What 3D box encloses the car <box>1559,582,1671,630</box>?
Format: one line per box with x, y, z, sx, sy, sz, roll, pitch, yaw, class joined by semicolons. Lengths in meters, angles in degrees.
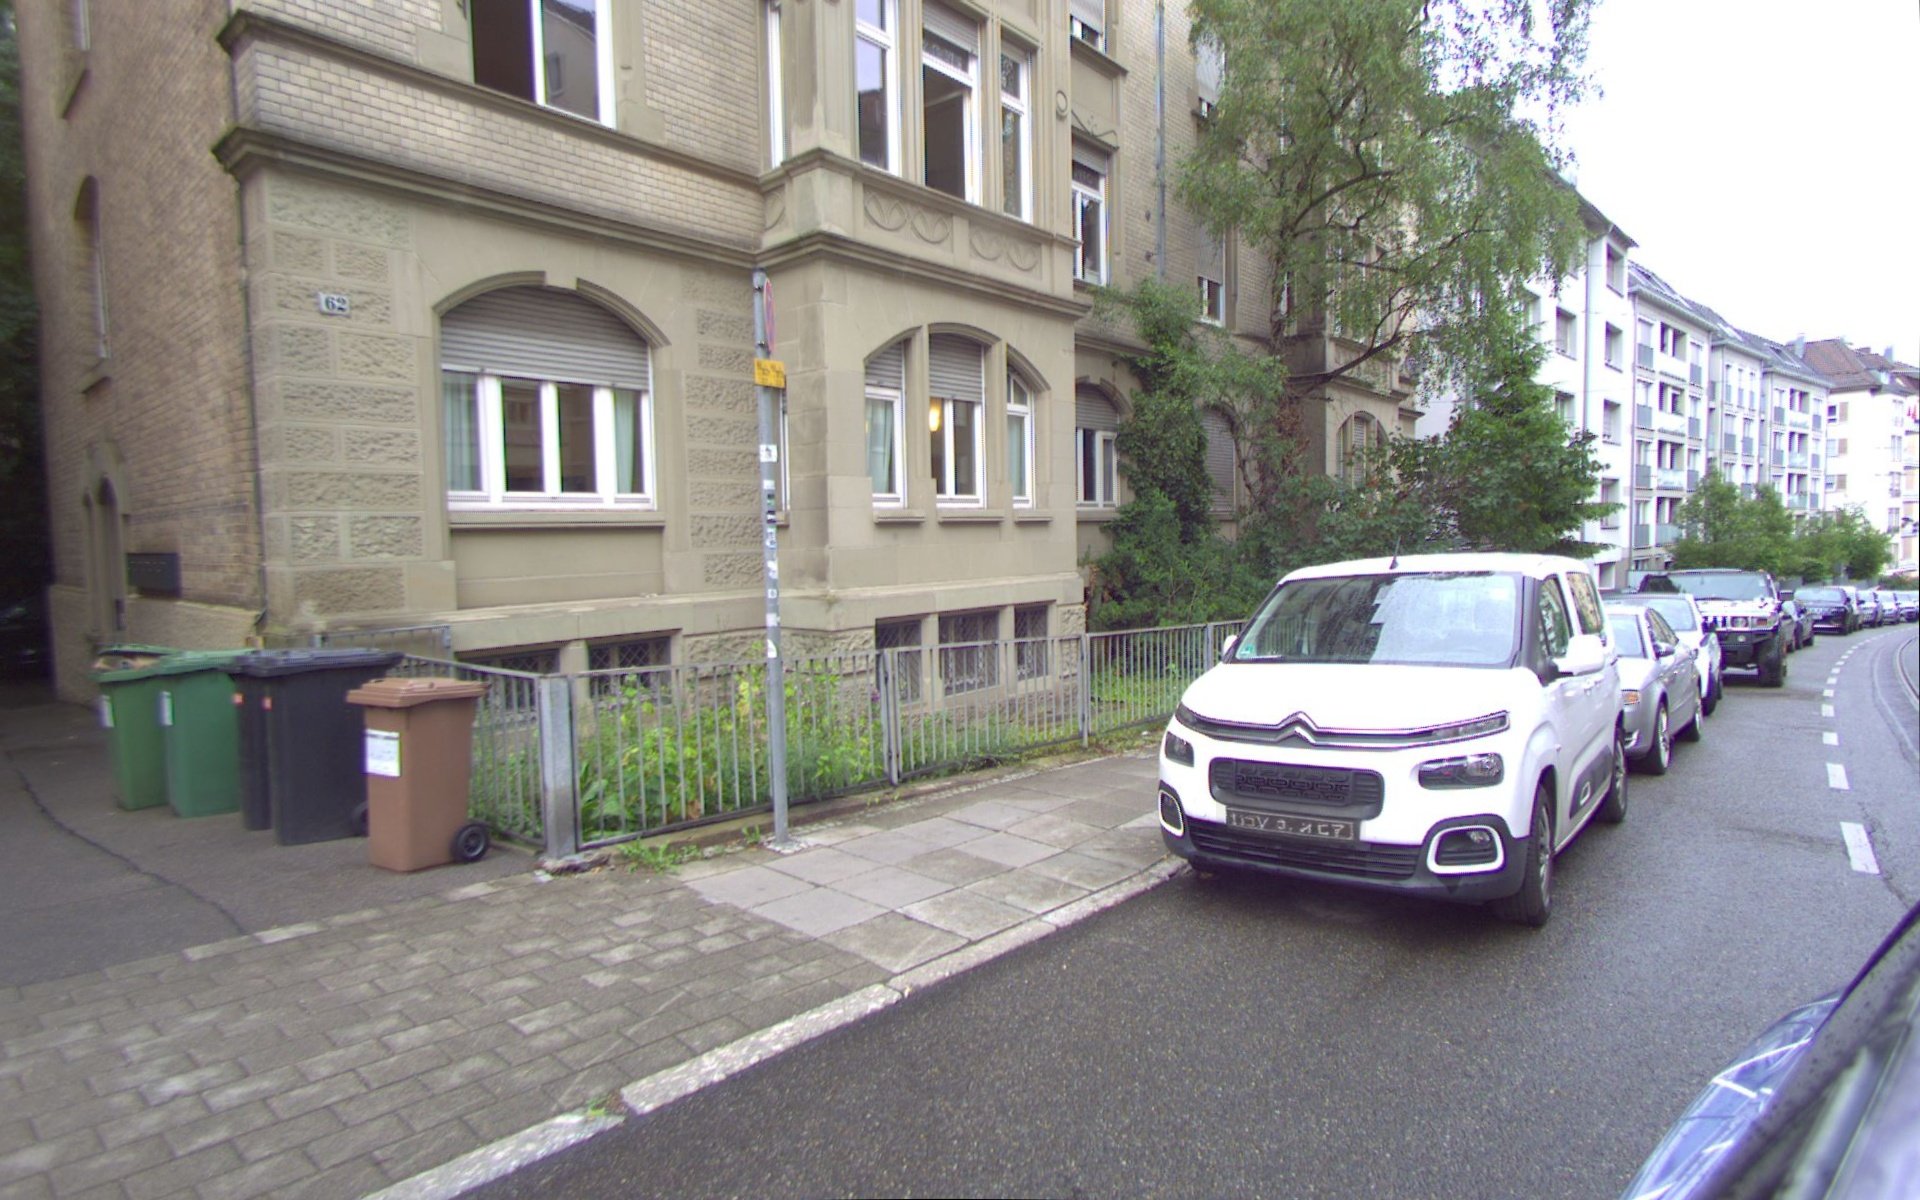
20.870;0.178;32.196;4.079;1.444;1.816;0;0;-39;car

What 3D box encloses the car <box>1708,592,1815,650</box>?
20.404;0.477;25.711;3.819;1.355;1.679;-1;1;-44;car

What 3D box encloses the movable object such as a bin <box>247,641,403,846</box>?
-3.611;0.774;5.755;0.653;1.043;0.528;-1;-1;-43;movable object such as a bin

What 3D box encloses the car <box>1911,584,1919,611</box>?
57.117;-0.148;58.999;4.704;1.534;1.862;-1;2;-40;car

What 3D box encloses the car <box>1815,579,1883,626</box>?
36.807;0.064;41.871;4.398;1.817;1.780;-1;2;-44;car

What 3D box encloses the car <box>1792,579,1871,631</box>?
33.046;0.119;38.313;1.943;1.817;4.743;1;2;45;car

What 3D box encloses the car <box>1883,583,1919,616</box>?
49.788;-0.055;53.083;1.975;1.604;4.495;2;2;43;car

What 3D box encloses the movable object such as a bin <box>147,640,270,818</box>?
-4.939;0.815;6.653;0.495;1.075;0.547;-3;-1;41;movable object such as a bin

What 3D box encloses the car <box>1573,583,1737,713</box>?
9.682;0.562;13.999;1.558;1.565;3.533;-1;0;40;car

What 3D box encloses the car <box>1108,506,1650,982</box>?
2.816;0.521;6.085;1.795;1.787;4.399;-1;0;40;car

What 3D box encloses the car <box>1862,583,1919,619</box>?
45.673;0.017;49.600;4.587;1.648;1.834;-1;2;-44;car

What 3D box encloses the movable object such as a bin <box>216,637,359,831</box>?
-4.089;0.777;6.158;0.498;1.075;0.600;-3;-1;41;movable object such as a bin

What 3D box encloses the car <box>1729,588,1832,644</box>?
23.517;0.401;28.947;4.535;1.455;1.795;-1;1;-45;car

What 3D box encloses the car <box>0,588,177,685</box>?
-17.209;0.647;18.798;3.933;1.529;1.796;7;-1;-45;car

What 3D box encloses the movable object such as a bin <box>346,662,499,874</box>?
-2.688;0.806;5.069;0.425;0.931;0.529;3;2;38;movable object such as a bin

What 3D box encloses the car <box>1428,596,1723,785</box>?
6.251;0.695;10.024;1.747;1.418;4.411;-1;0;41;car

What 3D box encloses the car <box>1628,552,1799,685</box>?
13.744;0.264;18.310;2.126;2.039;5.272;-1;0;40;car

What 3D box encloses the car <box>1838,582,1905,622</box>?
41.448;0.039;45.983;4.608;1.676;1.834;-1;2;-43;car

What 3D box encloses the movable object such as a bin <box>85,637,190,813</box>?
-5.616;0.823;6.910;0.518;1.116;0.471;-3;-1;42;movable object such as a bin
